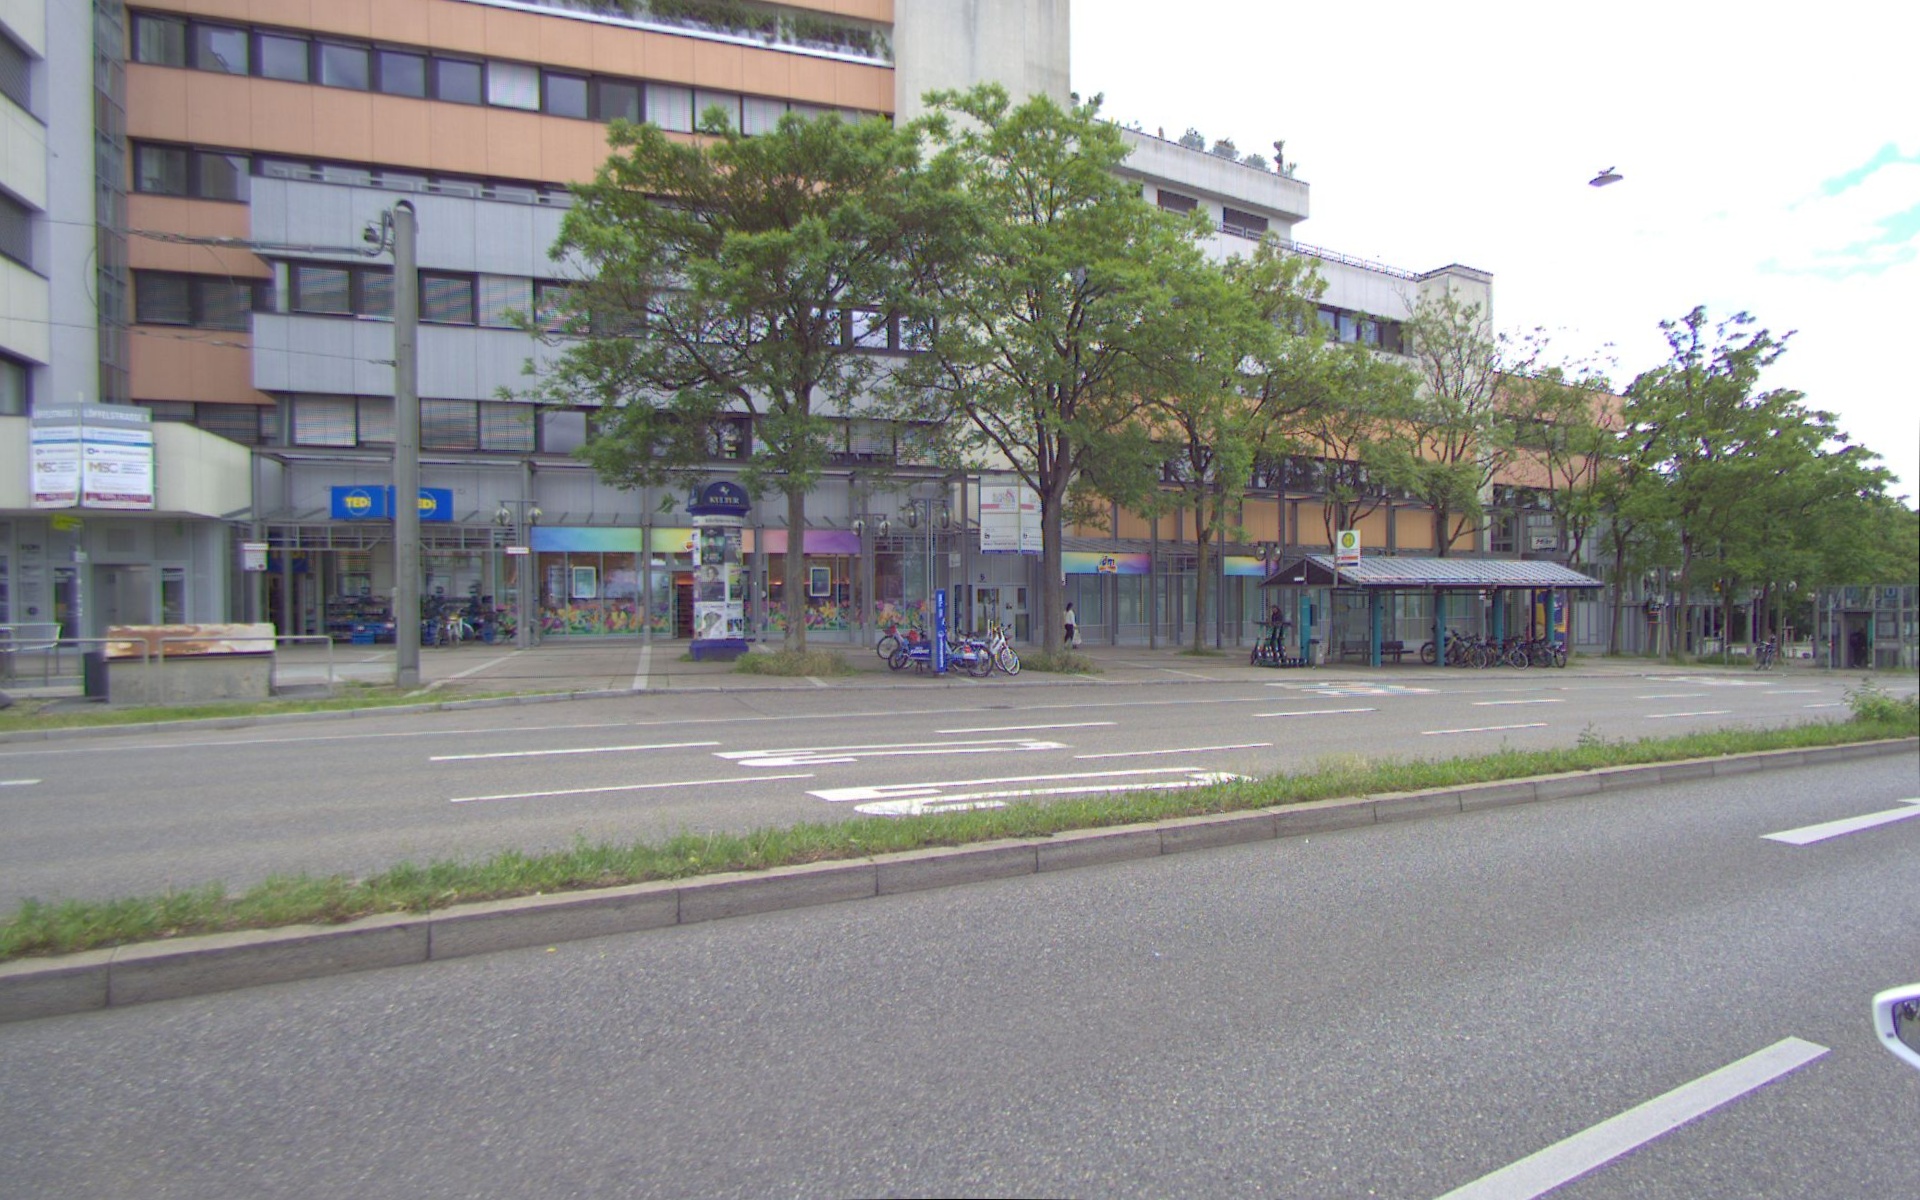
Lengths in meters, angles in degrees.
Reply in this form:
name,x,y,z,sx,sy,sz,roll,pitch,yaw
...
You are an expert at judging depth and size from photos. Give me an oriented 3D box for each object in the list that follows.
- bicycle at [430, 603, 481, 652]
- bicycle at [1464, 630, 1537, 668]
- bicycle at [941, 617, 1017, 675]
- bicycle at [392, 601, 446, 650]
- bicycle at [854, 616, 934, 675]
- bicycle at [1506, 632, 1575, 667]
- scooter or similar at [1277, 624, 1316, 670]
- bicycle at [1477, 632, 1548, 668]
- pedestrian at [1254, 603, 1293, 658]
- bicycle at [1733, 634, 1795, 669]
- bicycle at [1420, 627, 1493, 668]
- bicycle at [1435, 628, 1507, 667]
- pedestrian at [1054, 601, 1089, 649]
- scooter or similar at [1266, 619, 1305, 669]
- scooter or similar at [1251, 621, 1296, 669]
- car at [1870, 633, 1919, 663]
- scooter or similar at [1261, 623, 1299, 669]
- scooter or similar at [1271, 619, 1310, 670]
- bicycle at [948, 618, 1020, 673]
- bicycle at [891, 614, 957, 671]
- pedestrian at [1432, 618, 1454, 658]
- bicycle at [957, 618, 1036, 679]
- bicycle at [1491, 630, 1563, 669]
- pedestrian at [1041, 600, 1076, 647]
name,x,y,z,sx,sy,sz,roll,pitch,yaw
bicycle,-14.473,0.777,28.847,0.693,1.337,1.971,1,-1,-8
bicycle,18.432,1.652,34.283,0.706,1.169,2.048,1,0,-39
bicycle,0.443,1.049,22.983,1.649,1.270,0.627,1,-1,8
bicycle,-15.439,0.712,28.724,0.693,1.337,1.971,1,-1,-8
bicycle,-1.457,0.998,22.331,1.649,1.270,0.627,1,0,9
bicycle,21.077,1.783,36.488,0.706,1.169,2.048,1,0,-39
scooter or similar,9.927,1.373,29.630,0.257,1.338,1.195,1,-1,-31
bicycle,19.414,1.736,35.329,0.706,1.169,2.048,1,-1,-39
pedestrian,10.351,1.002,33.185,0.985,1.805,0.730,1,-1,-29
bicycle,31.709,2.004,39.608,2.395,1.288,1.047,1,1,-29
bicycle,16.492,1.568,33.409,0.706,1.169,2.047,1,2,-39
bicycle,17.360,1.603,34.163,0.706,1.169,2.047,1,1,-39
pedestrian,3.861,0.854,34.789,0.985,1.639,0.730,1,-1,-29
scooter or similar,9.480,1.266,29.288,0.219,1.403,1.195,1,-1,-31
scooter or similar,8.998,1.271,28.870,0.335,1.286,1.314,1,1,-31
car,46.924,2.354,48.576,1.977,1.372,3.966,1,-1,-31
scooter or similar,9.272,1.320,29.106,0.265,1.312,1.121,1,-1,-32
scooter or similar,9.677,1.284,29.476,0.257,1.442,1.195,1,-1,-31
bicycle,0.582,1.071,23.966,1.649,1.270,0.627,1,-1,8
bicycle,-0.819,0.962,22.956,1.441,1.270,0.432,1,0,11
pedestrian,20.356,1.610,42.338,0.666,1.665,0.530,1,-1,-24
bicycle,0.809,1.052,21.989,1.649,1.270,0.627,1,-1,8
bicycle,20.208,1.748,35.830,0.706,1.169,2.047,1,3,-39
pedestrian,3.499,0.841,35.545,0.985,1.639,0.730,1,-1,-29
